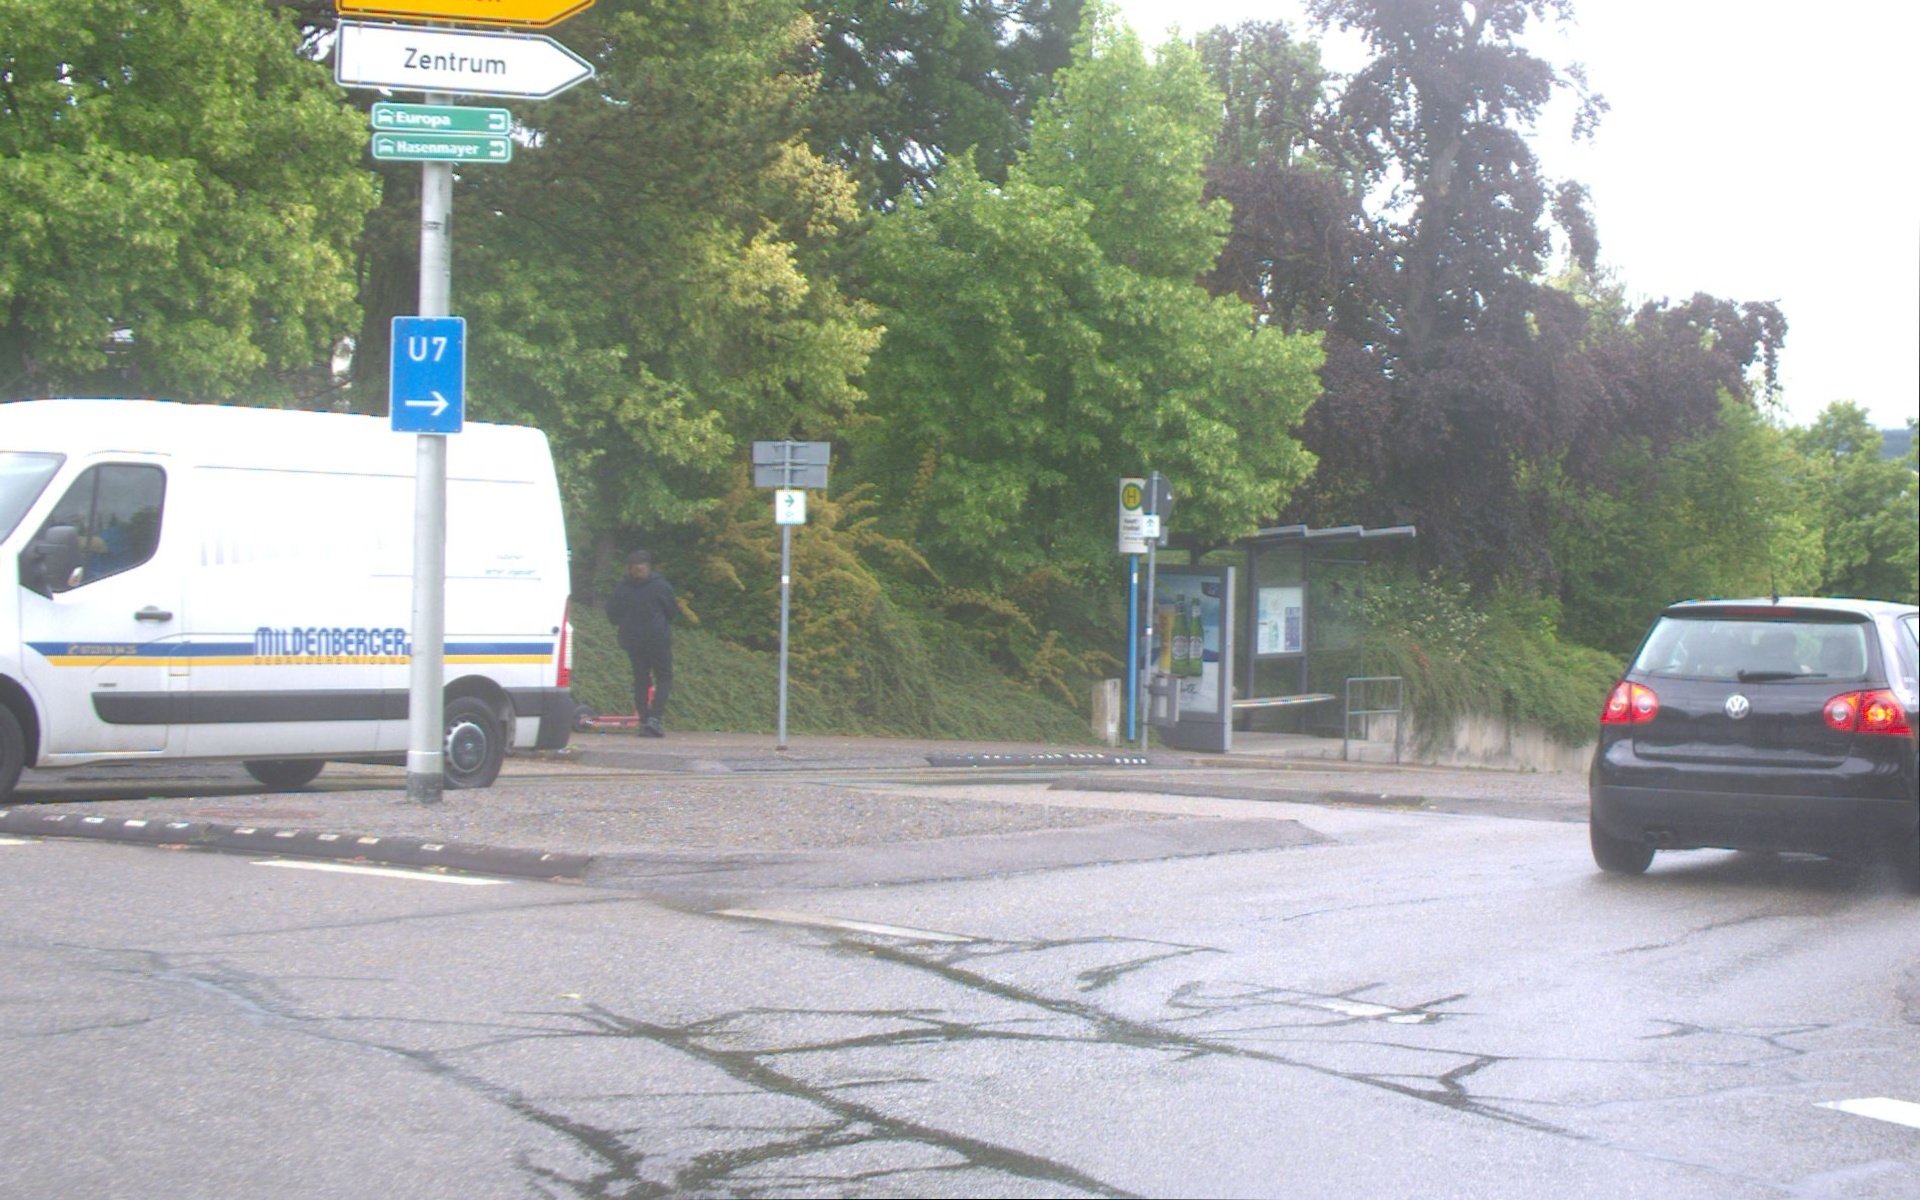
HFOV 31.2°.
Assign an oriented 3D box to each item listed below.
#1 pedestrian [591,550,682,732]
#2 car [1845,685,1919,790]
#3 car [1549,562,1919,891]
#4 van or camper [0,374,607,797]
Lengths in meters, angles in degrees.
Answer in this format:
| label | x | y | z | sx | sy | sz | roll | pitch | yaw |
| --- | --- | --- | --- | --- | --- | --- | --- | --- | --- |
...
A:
| label | x | y | z | sx | sy | sz | roll | pitch | yaw |
| --- | --- | --- | --- | --- | --- | --- | --- | --- | --- |
| pedestrian | -3.136 | 0.392 | 33.382 | 0.738 | 1.719 | 0.816 | 2 | 0 | -1 |
| car | 14.157 | 2.029 | 49.089 | 1.912 | 1.388 | 4.508 | 3 | -2 | 27 |
| car | 4.649 | 0.671 | 18.370 | 1.767 | 1.533 | 3.993 | 1 | -2 | 28 |
| van or camper | -5.046 | -0.066 | 21.360 | 2.199 | 2.370 | 5.655 | 2 | 0 | 40 |
